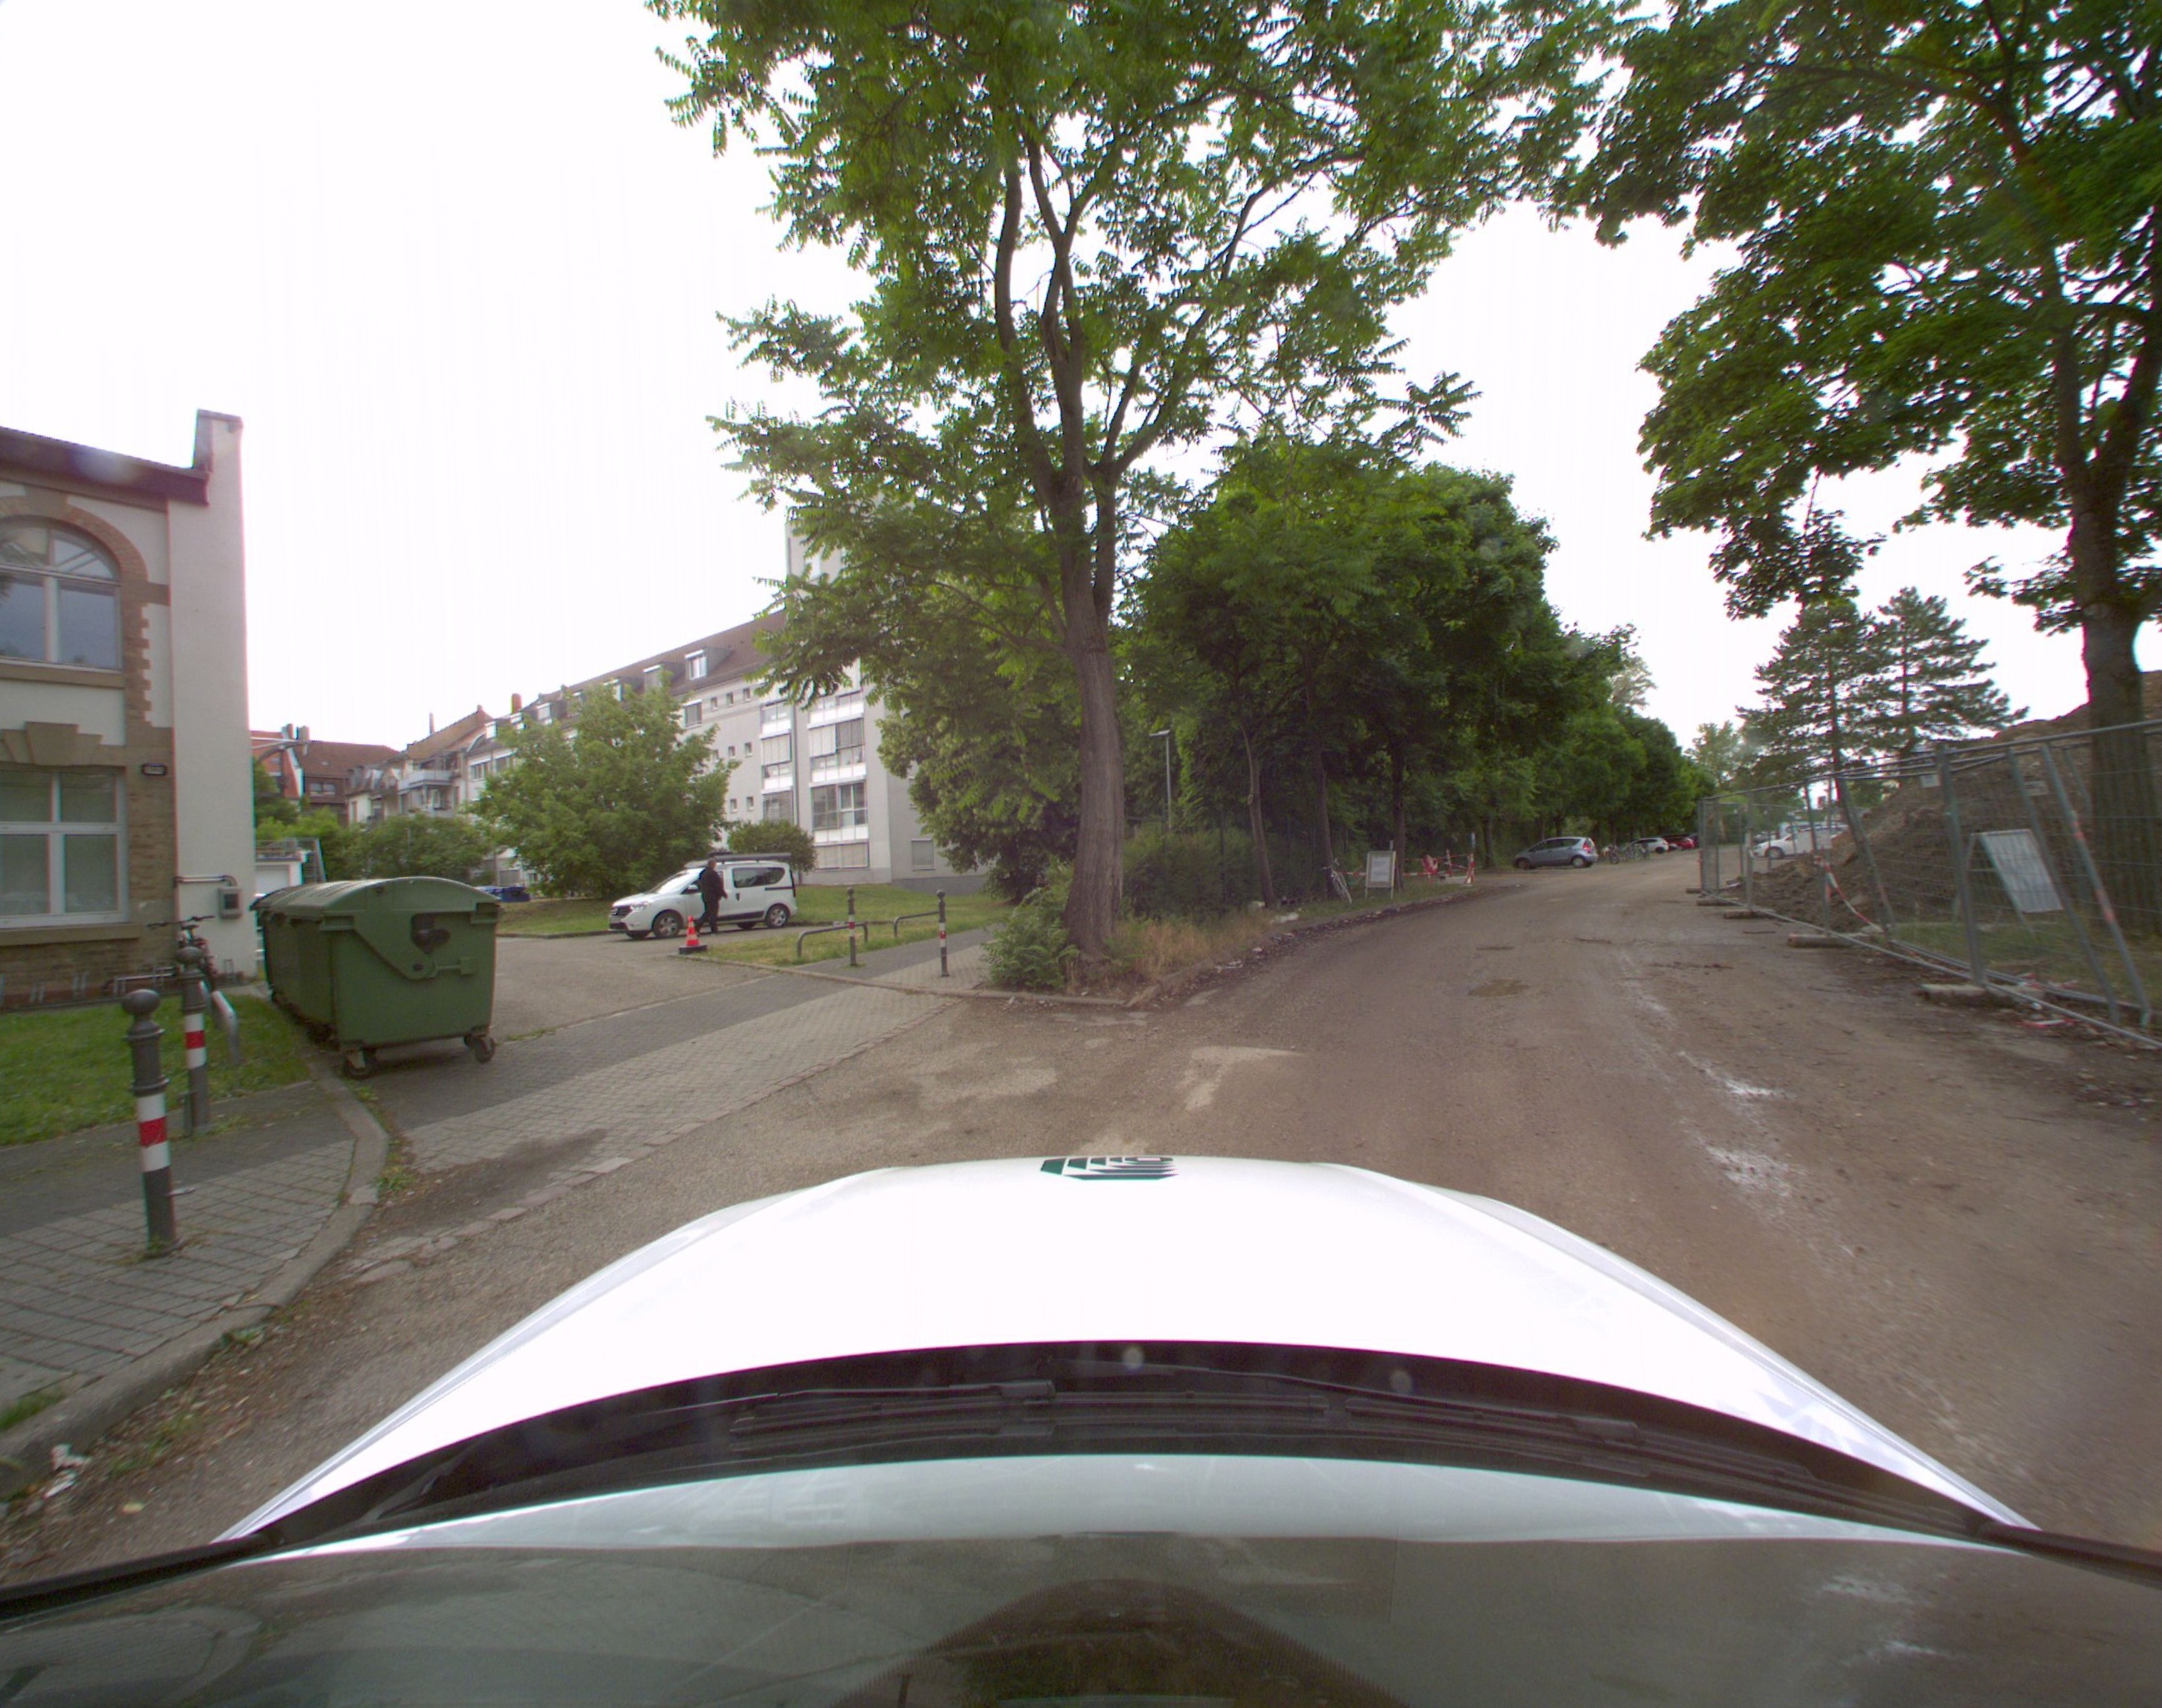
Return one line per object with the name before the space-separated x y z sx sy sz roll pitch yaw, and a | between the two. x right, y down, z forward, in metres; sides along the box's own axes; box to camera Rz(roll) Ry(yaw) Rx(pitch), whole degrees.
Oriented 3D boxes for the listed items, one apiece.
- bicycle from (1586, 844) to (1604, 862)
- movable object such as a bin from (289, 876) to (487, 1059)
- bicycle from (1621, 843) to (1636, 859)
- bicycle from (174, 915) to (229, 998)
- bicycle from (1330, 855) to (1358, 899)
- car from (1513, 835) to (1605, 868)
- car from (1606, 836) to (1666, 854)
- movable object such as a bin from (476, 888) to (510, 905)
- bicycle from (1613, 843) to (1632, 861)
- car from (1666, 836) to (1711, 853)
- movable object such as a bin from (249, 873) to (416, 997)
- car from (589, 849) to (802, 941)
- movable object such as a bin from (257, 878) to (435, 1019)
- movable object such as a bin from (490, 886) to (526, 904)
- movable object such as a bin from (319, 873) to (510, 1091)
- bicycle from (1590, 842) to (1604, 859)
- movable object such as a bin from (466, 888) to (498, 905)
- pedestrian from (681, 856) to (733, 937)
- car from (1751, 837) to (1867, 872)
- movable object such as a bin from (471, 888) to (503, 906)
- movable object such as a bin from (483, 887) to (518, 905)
bicycle | 30.904 -0.066 48.974 0.763 0.978 2.044 -2 0 29
movable object such as a bin | -6.348 0.962 7.464 1.336 1.456 1.062 -3 -1 35
bicycle | 35.552 -0.186 52.884 0.583 0.978 2.044 -2 0 29
bicycle | -12.615 1.429 11.666 1.805 1.065 0.398 -3 -1 39
bicycle | 5.915 0.504 18.295 0.415 0.905 1.160 4 2 24
car | 24.302 -0.131 41.458 3.664 1.500 1.879 -3 0 44
car | 49.881 -0.792 73.315 3.962 1.508 2.006 -2 0 10
movable object such as a bin | -24.587 1.783 34.067 0.899 0.637 0.974 -4 -2 42
bicycle | 32.144 -0.125 48.351 0.763 0.978 2.044 -2 0 29
car | 63.798 -0.963 85.548 3.607 1.662 1.793 -2 0 41
movable object such as a bin | -8.573 0.883 9.333 1.336 1.265 1.062 -2 0 32
car | -9.452 0.946 20.292 1.830 2.014 4.379 -4 -2 36
movable object such as a bin | -7.550 0.908 8.371 1.336 1.265 1.062 -2 0 35
movable object such as a bin | -22.854 1.641 32.489 0.899 0.637 0.974 -4 -2 42
movable object such as a bin | -5.287 0.906 6.487 1.061 1.450 1.338 -2 1 -41
bicycle | 32.299 -0.234 50.974 0.583 0.978 2.044 -2 0 29
movable object such as a bin | -26.042 1.832 35.419 0.859 0.679 0.974 -4 -2 42
pedestrian | -8.707 0.983 18.965 0.689 1.809 0.761 -5 -2 37
car | 35.260 0.050 39.497 1.859 1.533 4.005 -2 0 -43
movable object such as a bin | -25.361 1.845 34.775 0.800 0.679 0.974 -4 -2 42
movable object such as a bin | -23.703 1.712 33.243 0.899 0.637 0.974 -4 -2 42
